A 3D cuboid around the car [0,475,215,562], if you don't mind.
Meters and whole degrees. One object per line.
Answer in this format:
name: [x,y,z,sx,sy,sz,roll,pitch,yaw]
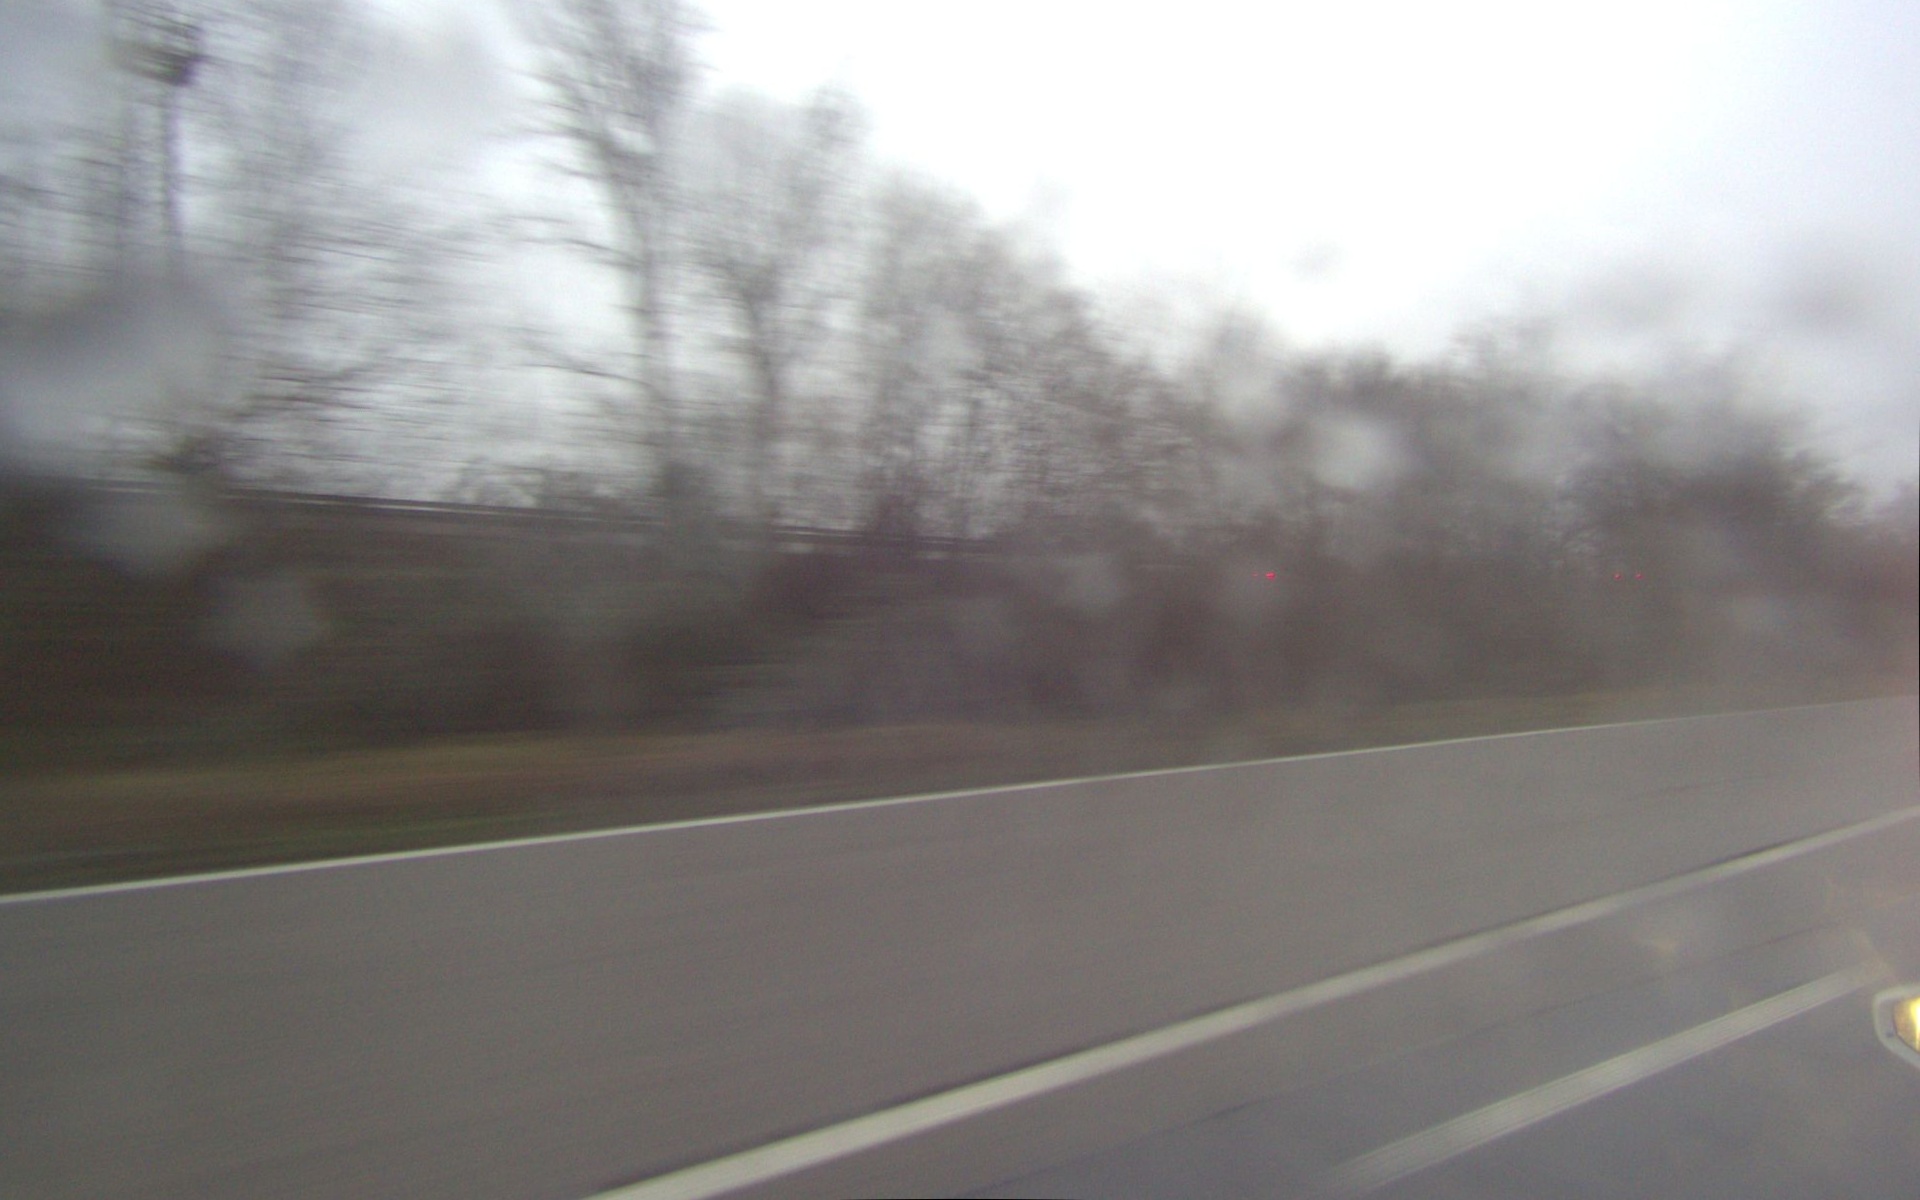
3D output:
car: [-19.440,-1.792,22.867,3.906,1.656,1.772,2,1,-37]
